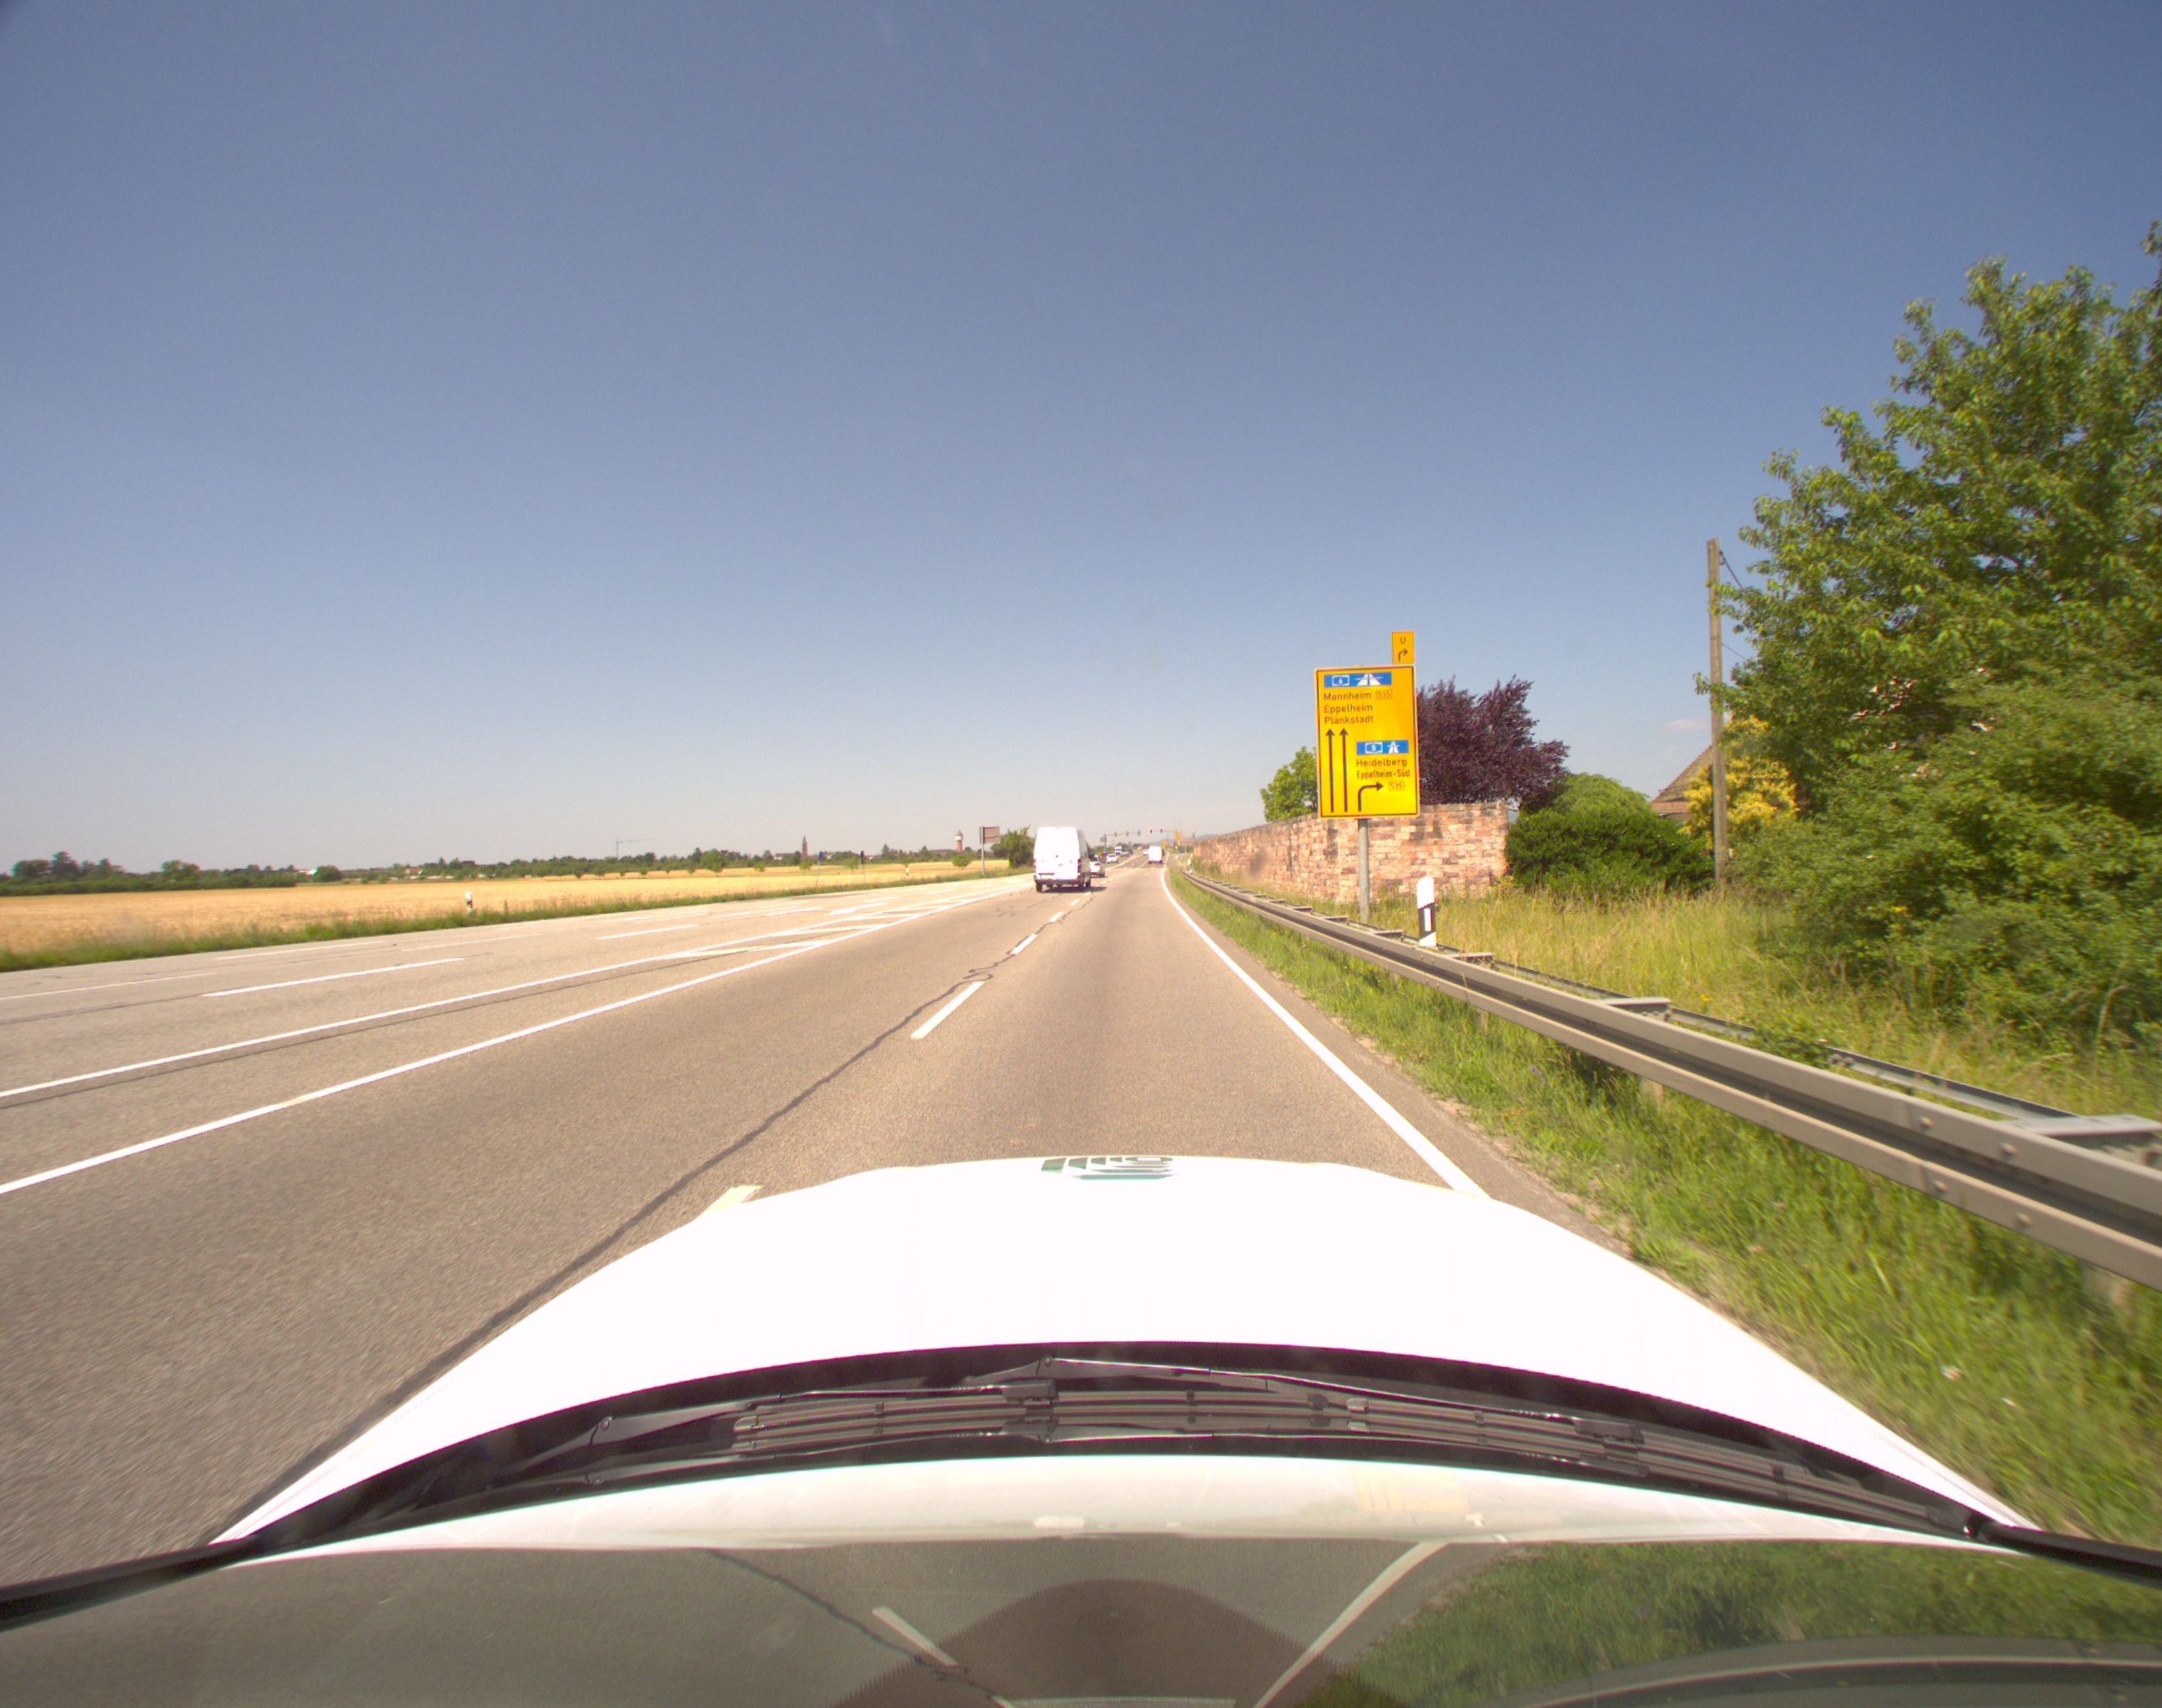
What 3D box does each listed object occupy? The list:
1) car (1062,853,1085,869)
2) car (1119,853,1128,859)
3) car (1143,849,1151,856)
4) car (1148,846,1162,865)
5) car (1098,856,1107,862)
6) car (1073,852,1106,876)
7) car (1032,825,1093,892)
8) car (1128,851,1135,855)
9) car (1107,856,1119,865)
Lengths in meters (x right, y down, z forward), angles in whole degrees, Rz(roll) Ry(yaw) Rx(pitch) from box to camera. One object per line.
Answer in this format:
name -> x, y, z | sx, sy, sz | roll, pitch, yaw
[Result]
car -> -0.728, 0.712, 81.025 | 1.750, 1.457, 4.239 | -2, 0, 7
car -> 11.043, 0.598, 210.350 | 1.847, 1.423, 4.008 | -2, 0, 7
car -> 17.574, -0.362, 218.223 | 1.983, 1.703, 4.282 | 0, -1, 6
car -> 10.878, 0.266, 119.141 | 1.983, 2.695, 4.977 | 0, -1, 6
car -> 4.470, 1.136, 170.818 | 1.863, 1.255, 4.282 | 0, -1, 2
car -> 0.623, 0.654, 54.172 | 1.790, 1.508, 4.203 | -1, 0, 6
car -> -0.707, 0.183, 35.136 | 2.030, 2.620, 5.748 | 0, 0, 5
car -> 15.609, -0.320, 251.791 | 1.847, 1.423, 4.008 | 0, -1, 7
car -> 5.214, 1.069, 132.344 | 1.740, 1.442, 4.088 | -1, -1, 5
